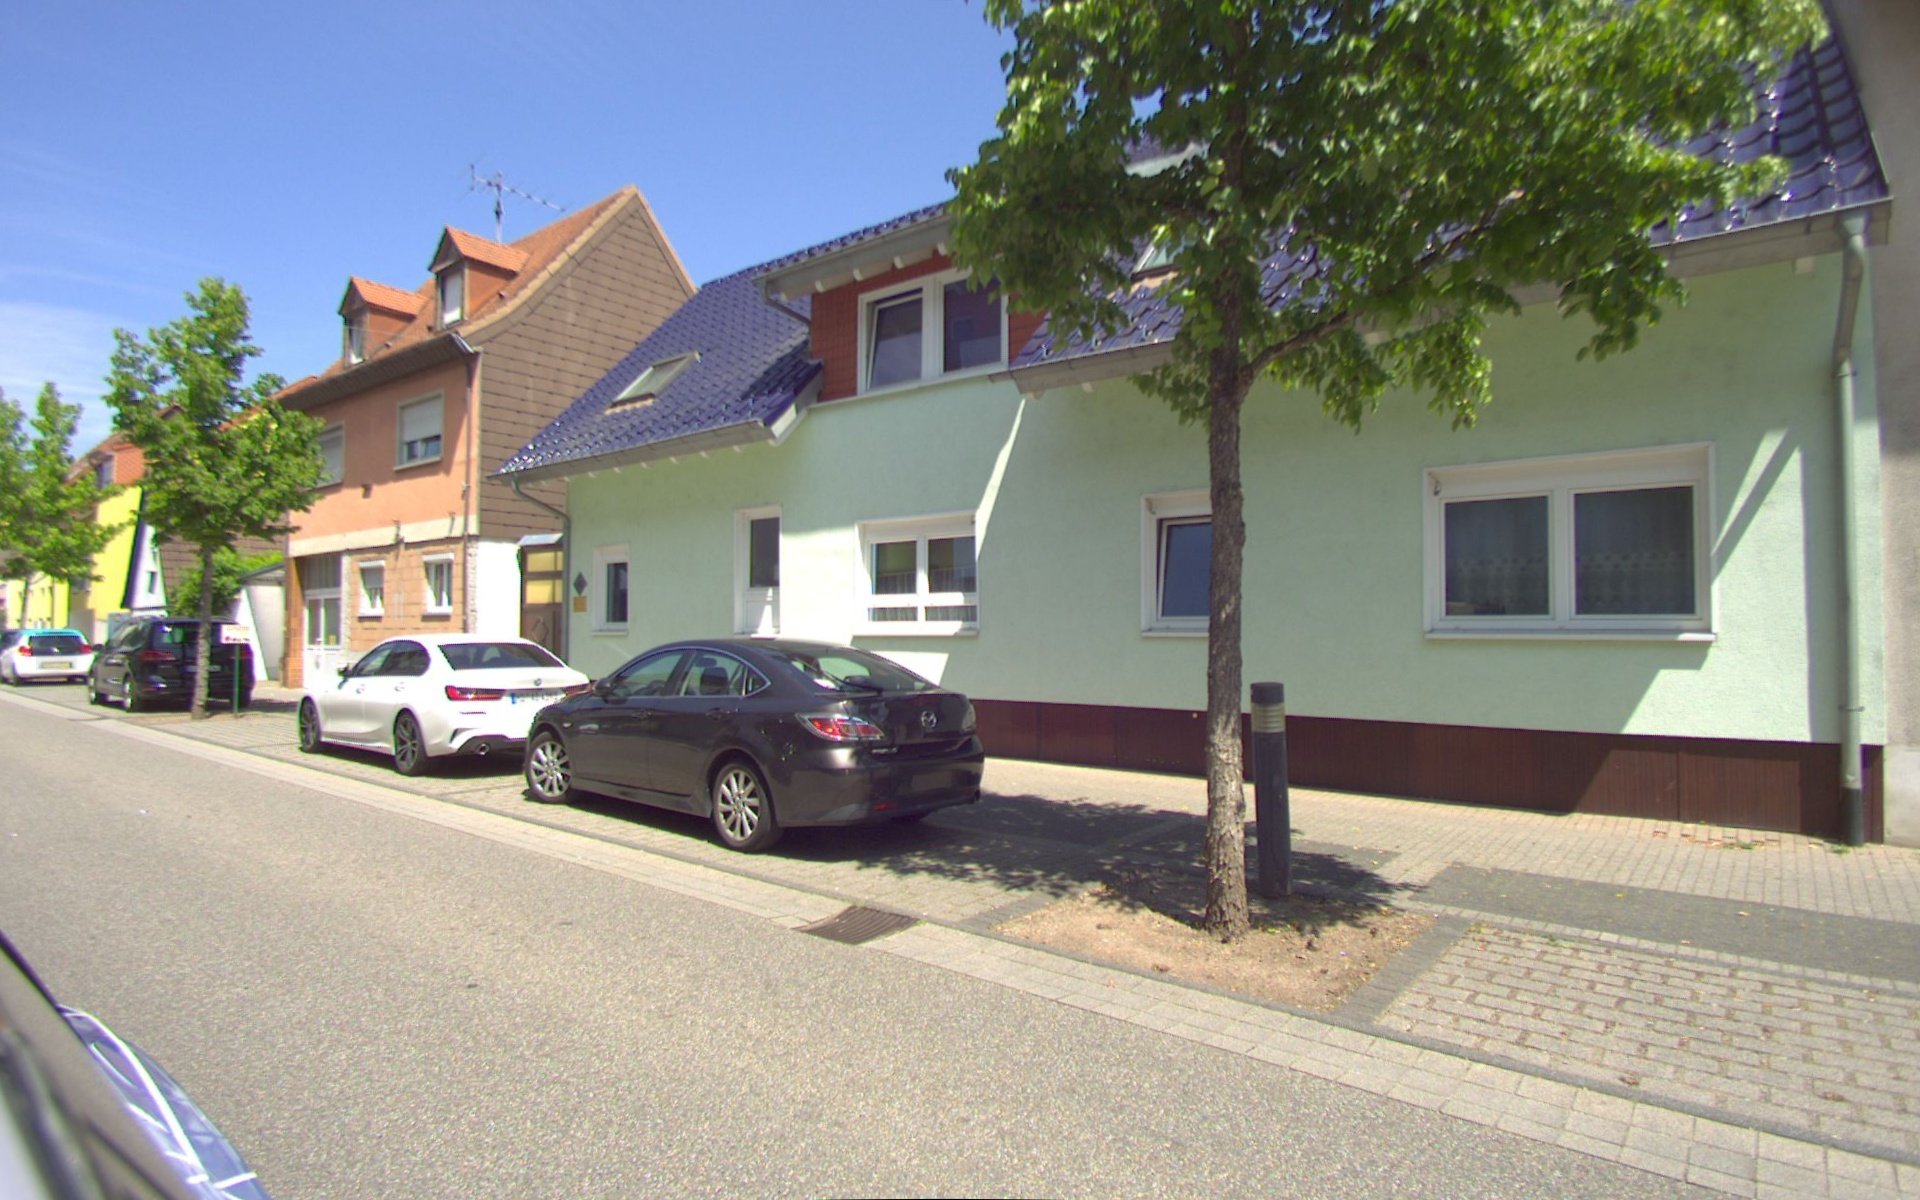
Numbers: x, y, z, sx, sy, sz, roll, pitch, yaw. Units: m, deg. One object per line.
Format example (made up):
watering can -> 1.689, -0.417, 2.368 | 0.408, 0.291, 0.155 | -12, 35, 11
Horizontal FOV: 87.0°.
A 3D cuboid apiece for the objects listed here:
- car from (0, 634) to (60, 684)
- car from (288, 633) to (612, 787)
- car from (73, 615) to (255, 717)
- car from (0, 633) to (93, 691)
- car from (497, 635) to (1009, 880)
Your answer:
car -> -29.043, 1.770, 30.925 | 4.095, 1.441, 1.629 | -2, -4, 40
car -> -5.988, 1.112, 11.651 | 4.456, 1.448, 1.702 | -2, -3, 40
car -> -15.336, 1.206, 19.421 | 4.515, 1.739, 1.758 | -2, -3, 39
car -> -24.365, 1.611, 26.811 | 3.406, 1.441, 1.538 | -2, -3, 40
car -> -1.885, 1.012, 8.172 | 4.536, 1.448, 1.643 | -2, -3, 41
